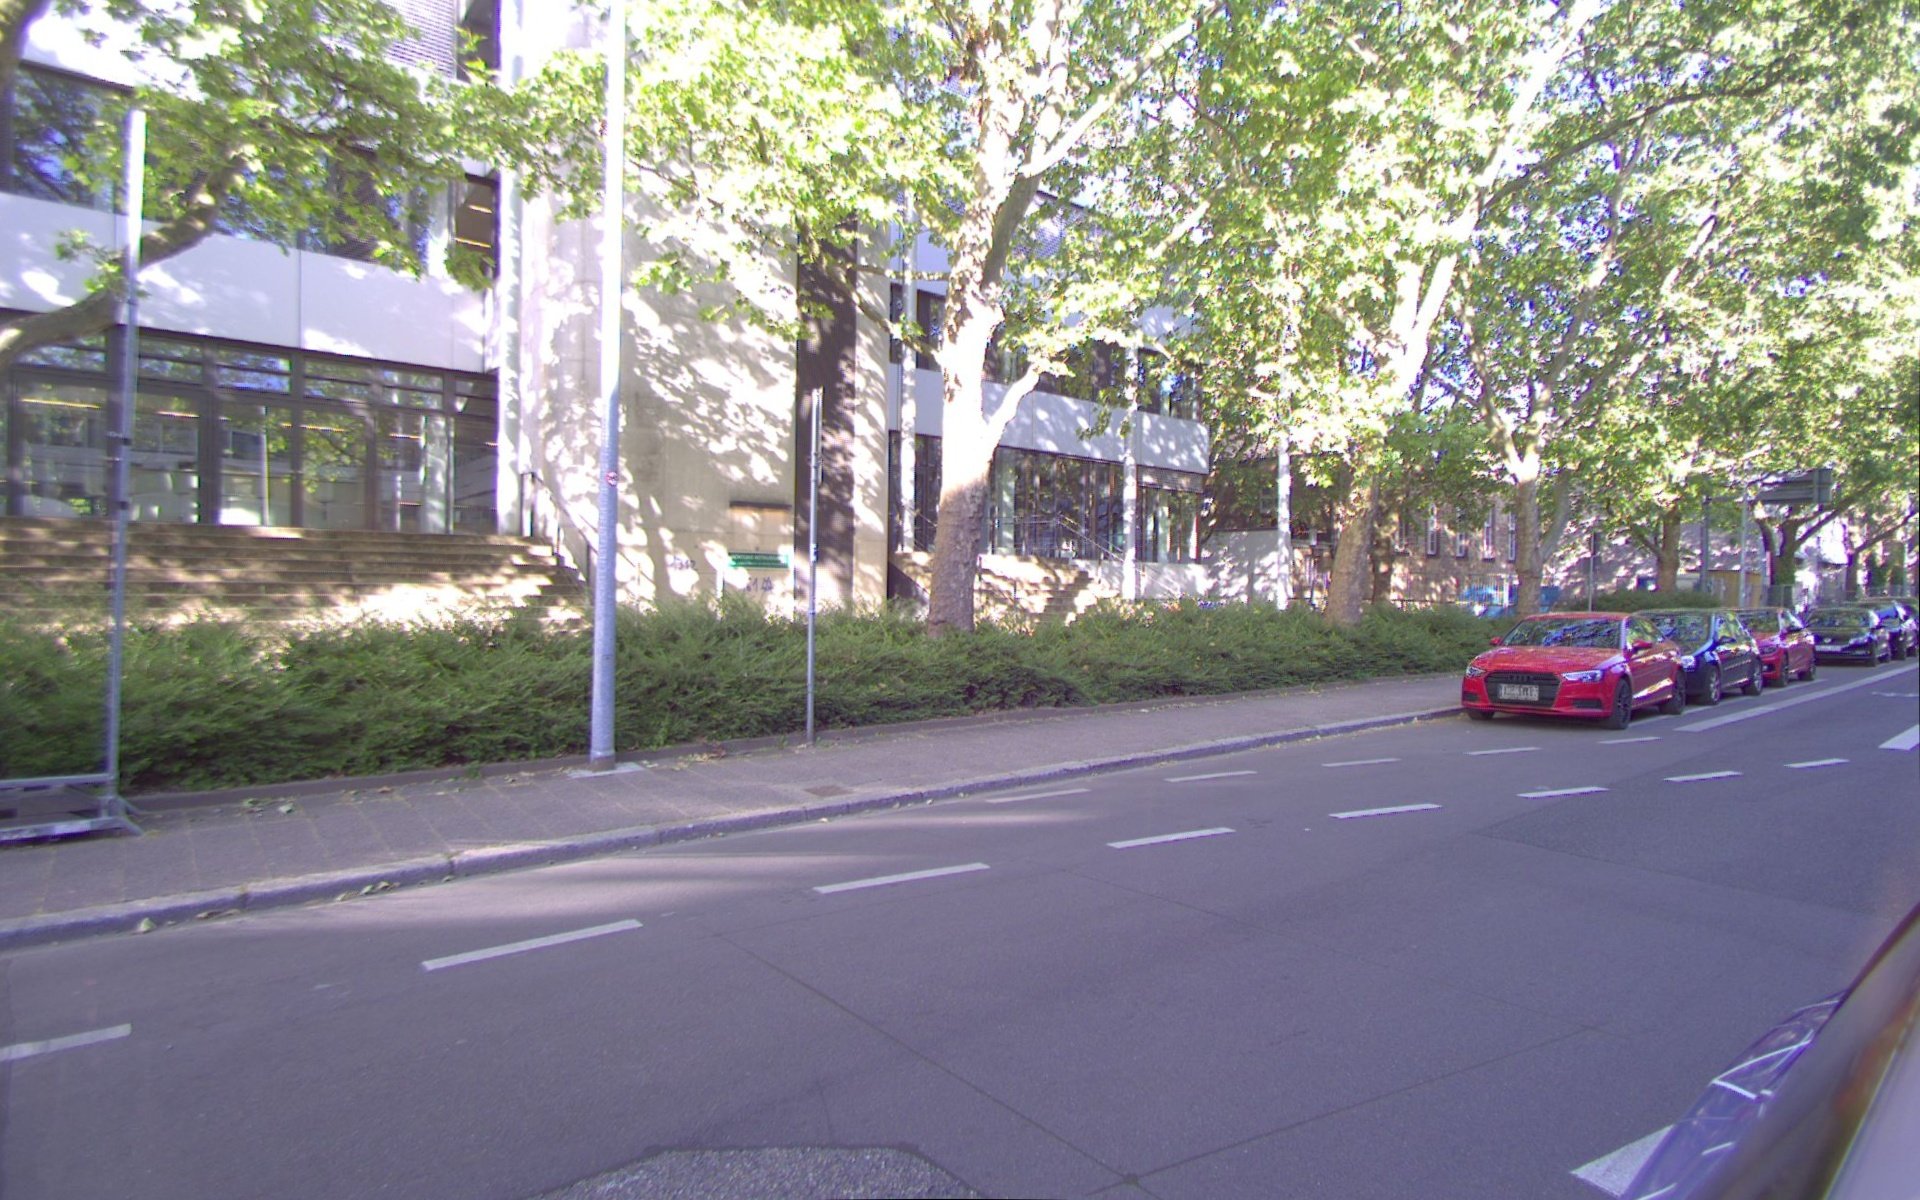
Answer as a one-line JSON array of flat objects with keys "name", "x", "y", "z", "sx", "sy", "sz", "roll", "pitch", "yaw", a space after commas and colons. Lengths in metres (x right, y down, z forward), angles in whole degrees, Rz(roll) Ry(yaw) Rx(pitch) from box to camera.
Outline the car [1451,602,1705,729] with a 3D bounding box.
[{"name": "car", "x": 8.360, "y": 0.752, "z": 13.547, "sx": 4.092, "sy": 1.431, "sz": 1.815, "roll": 0, "pitch": -1, "yaw": -42}]

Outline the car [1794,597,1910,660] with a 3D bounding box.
[{"name": "car", "x": 23.051, "y": 0.678, "z": 26.102, "sx": 4.092, "sy": 1.478, "sz": 1.788, "roll": 0, "pitch": -1, "yaw": -42}]

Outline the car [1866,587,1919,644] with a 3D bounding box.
[{"name": "car", "x": 31.056, "y": 0.486, "z": 33.016, "sx": 4.271, "sy": 1.777, "sz": 1.788, "roll": 0, "pitch": -1, "yaw": -42}]

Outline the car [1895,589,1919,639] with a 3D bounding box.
[{"name": "car", "x": 35.909, "y": 0.481, "z": 37.253, "sx": 4.475, "sy": 1.777, "sz": 1.788, "roll": 0, "pitch": -1, "yaw": -42}]

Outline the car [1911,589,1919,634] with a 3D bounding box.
[{"name": "car", "x": 39.626, "y": 0.436, "z": 40.403, "sx": 4.475, "sy": 1.777, "sz": 2.040, "roll": 0, "pitch": -1, "yaw": -42}]

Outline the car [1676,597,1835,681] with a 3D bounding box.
[{"name": "car", "x": 15.859, "y": 0.699, "z": 20.108, "sx": 4.092, "sy": 1.502, "sz": 1.815, "roll": 0, "pitch": -1, "yaw": -42}]

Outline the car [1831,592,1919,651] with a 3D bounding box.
[{"name": "car", "x": 26.596, "y": 0.587, "z": 29.134, "sx": 4.092, "sy": 1.573, "sz": 1.788, "roll": 0, "pitch": -1, "yaw": -42}]

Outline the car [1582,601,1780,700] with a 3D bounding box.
[{"name": "car", "x": 11.954, "y": 0.737, "z": 16.687, "sx": 4.092, "sy": 1.431, "sz": 1.815, "roll": 0, "pitch": -1, "yaw": -42}]
